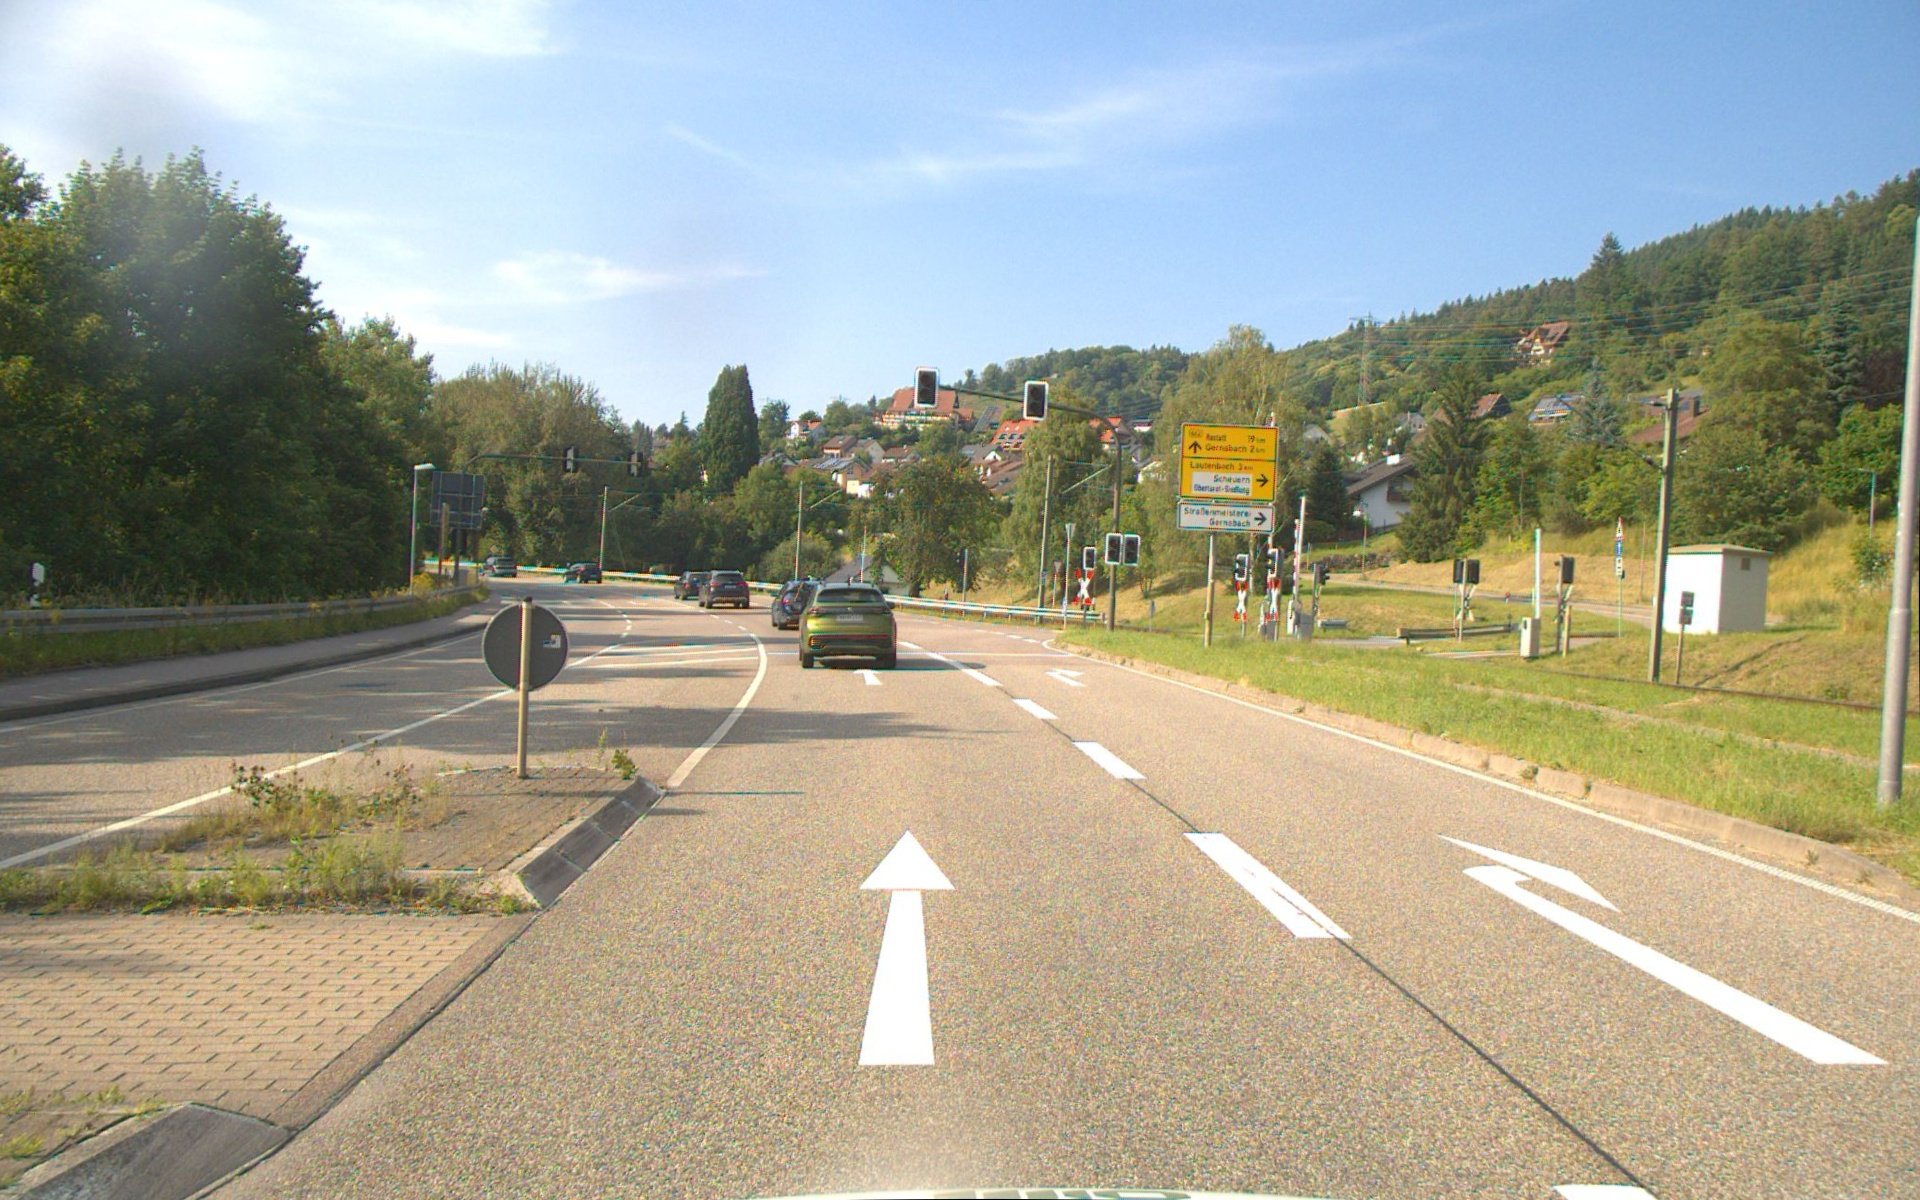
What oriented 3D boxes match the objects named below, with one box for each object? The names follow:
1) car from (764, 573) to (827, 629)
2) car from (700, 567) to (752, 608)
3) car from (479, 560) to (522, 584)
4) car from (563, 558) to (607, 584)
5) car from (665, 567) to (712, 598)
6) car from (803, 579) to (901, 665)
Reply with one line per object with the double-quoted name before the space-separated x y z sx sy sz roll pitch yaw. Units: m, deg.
"car" -4.969 -0.004 49.671 1.636 1.586 3.992 1 1 -9
"car" -10.385 -0.564 73.203 1.848 1.716 3.986 1 1 -14
"car" -37.273 -2.306 134.196 2.049 1.842 3.947 0 2 -38
"car" -27.308 -2.105 120.496 1.974 1.775 3.958 1 1 -31
"car" -14.240 -0.928 86.512 1.821 1.553 3.643 2 1 -19
"car" -2.029 0.351 30.592 1.681 1.480 3.996 0 1 -5
